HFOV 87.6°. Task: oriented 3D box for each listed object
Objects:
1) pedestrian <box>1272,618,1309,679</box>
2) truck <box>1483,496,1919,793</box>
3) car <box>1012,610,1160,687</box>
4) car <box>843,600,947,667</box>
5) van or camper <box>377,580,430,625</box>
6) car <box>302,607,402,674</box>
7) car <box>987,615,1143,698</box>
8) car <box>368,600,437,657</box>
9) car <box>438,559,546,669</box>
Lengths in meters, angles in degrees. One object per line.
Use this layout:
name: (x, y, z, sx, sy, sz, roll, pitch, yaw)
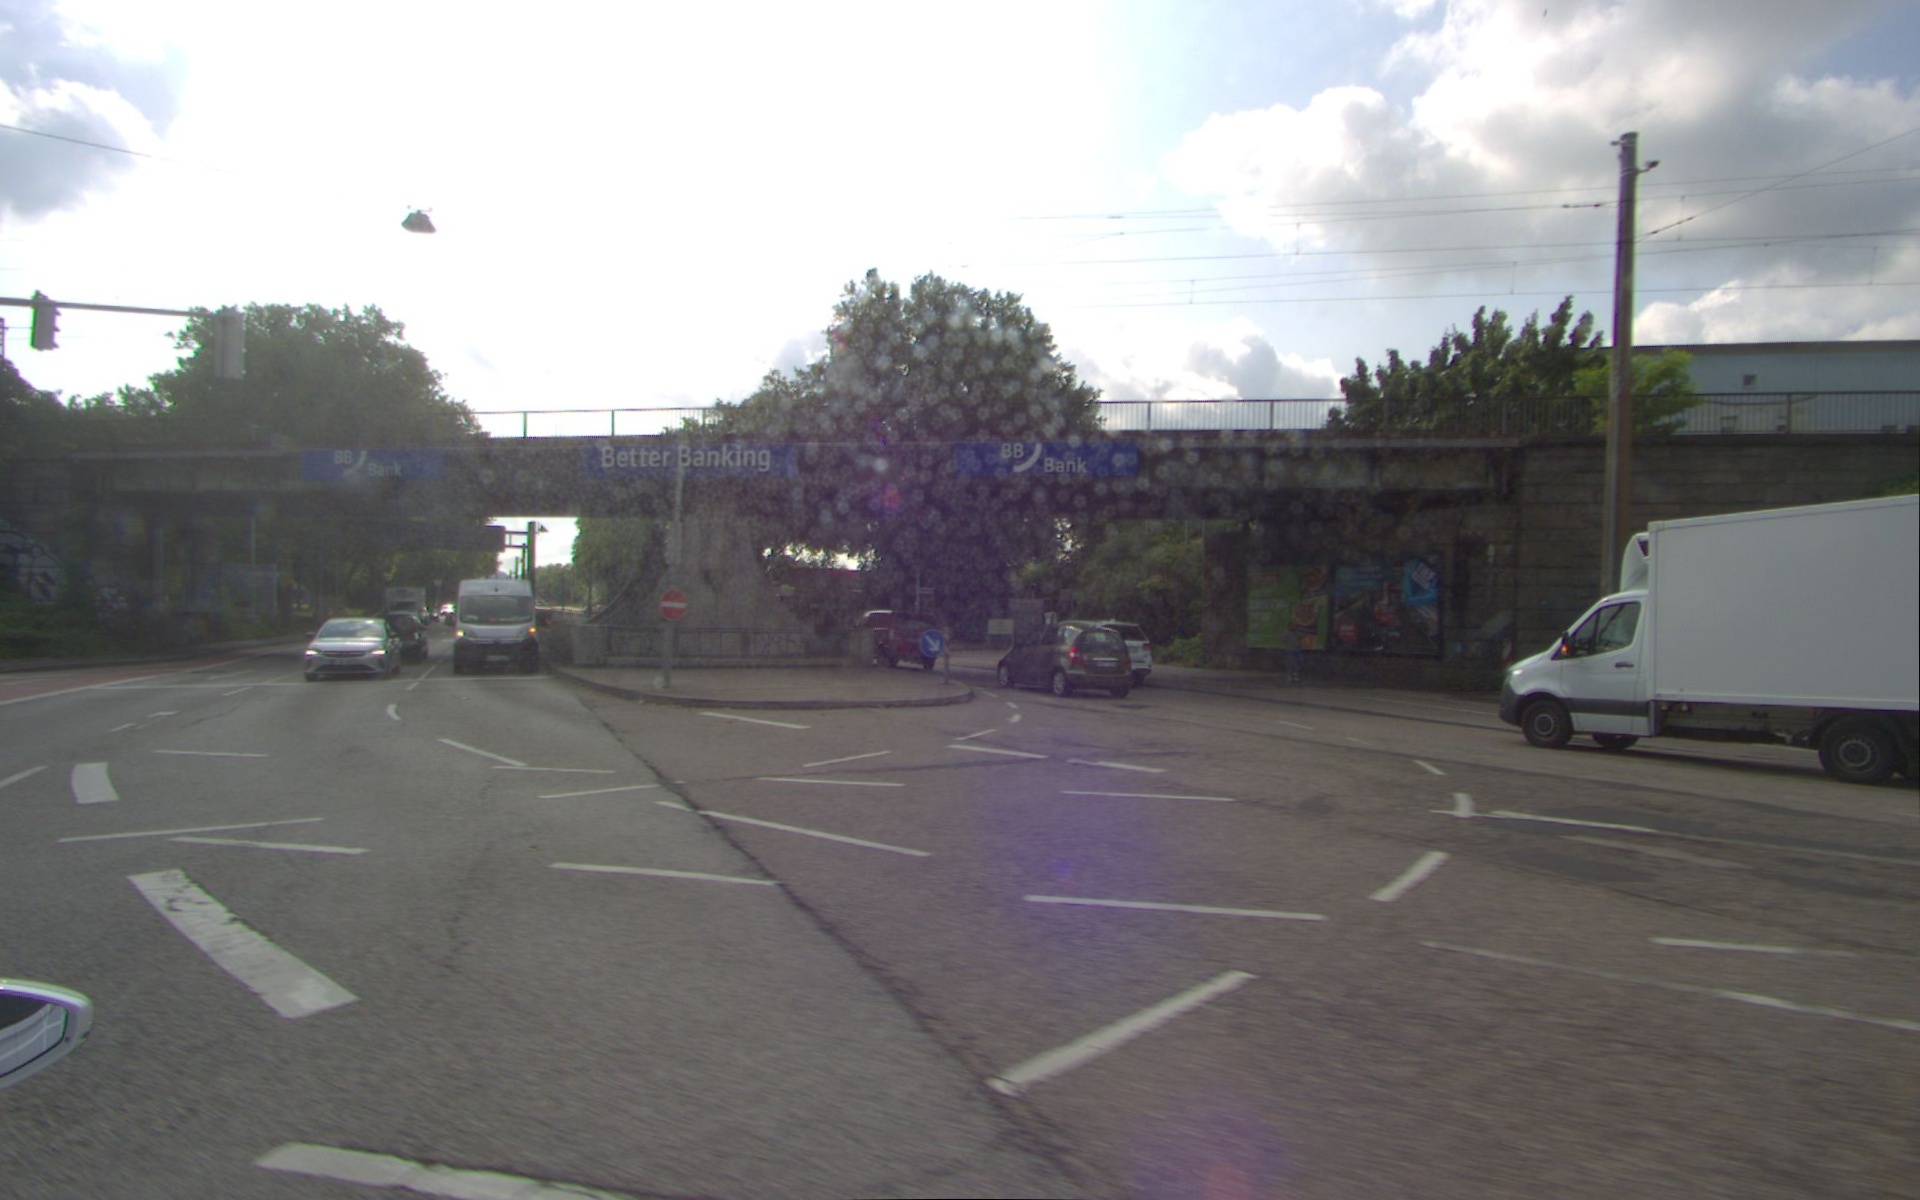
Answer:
pedestrian: (9.379, 1.383, 28.429, 0.599, 1.672, 0.691, -4, 0, -20)
truck: (10.363, 0.572, 12.973, 2.419, 3.160, 6.001, 4, -2, -27)
car: (3.362, 1.273, 27.657, 1.970, 1.926, 4.492, 2, -1, -25)
car: (-2.314, 1.133, 34.306, 1.932, 2.041, 4.660, 5, -3, -24)
van or camper: (-40.747, 0.161, 73.442, 2.621, 3.121, 5.730, -1, 0, -22)
car: (-14.682, 0.944, 24.357, 1.681, 1.496, 3.984, 0, -1, -26)
car: (2.326, 1.257, 23.152, 1.771, 1.629, 3.782, 4, -1, -26)
car: (-17.683, 0.911, 31.786, 1.744, 1.604, 4.642, -3, 0, -29)
car: (-12.794, 0.456, 27.608, 2.228, 2.558, 5.610, -6, 0, -24)
